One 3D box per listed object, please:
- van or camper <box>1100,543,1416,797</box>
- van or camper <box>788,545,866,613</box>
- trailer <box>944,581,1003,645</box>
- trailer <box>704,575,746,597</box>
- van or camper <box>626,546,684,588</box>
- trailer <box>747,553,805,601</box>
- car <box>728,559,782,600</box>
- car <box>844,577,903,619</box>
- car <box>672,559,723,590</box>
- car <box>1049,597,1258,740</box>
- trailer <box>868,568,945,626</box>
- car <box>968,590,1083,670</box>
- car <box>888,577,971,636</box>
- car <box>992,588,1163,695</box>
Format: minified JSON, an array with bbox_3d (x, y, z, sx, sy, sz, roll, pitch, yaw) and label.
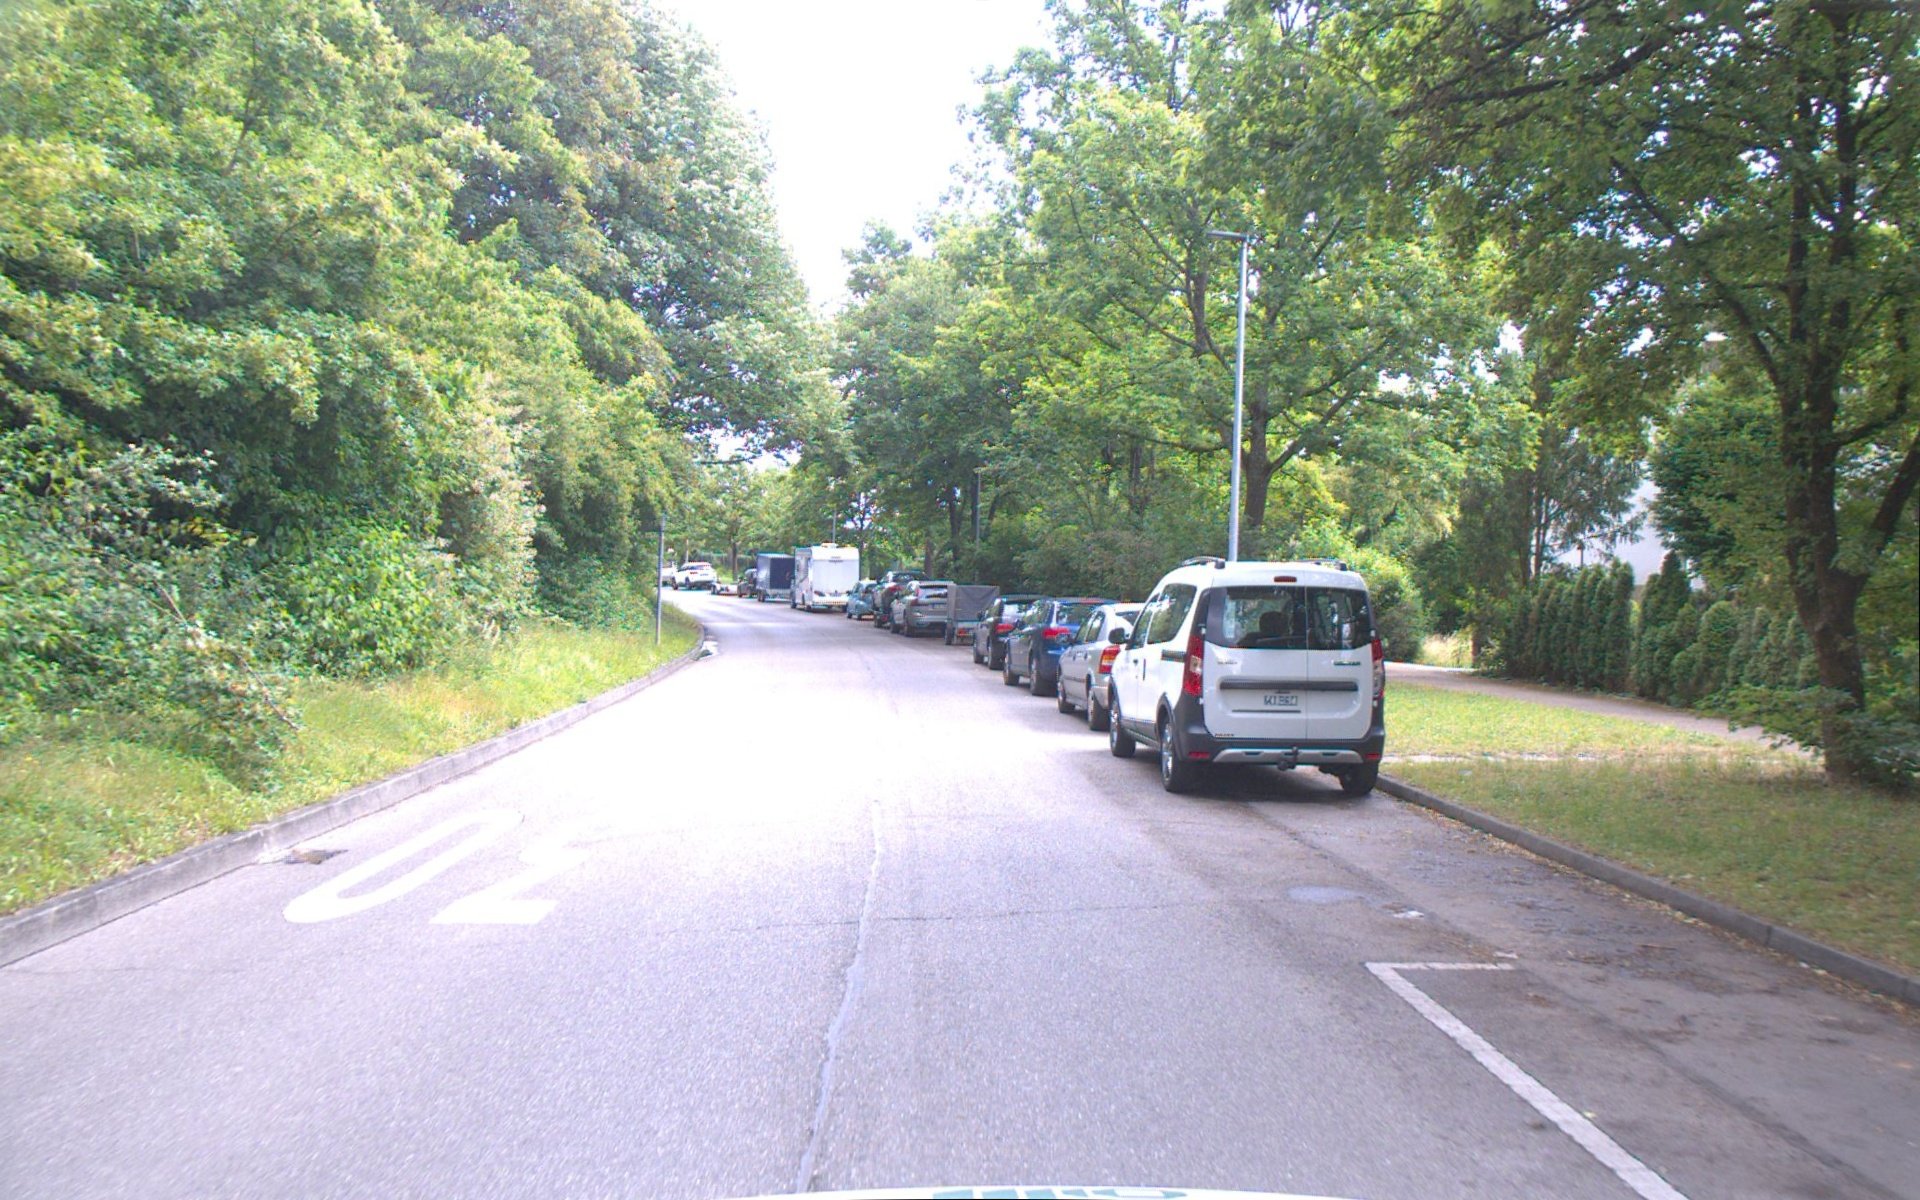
[{"bbox_3d":[2.424,0.562,14.534,1.766,1.870,4.317,1,-1,-3],"label":"van or camper"},{"bbox_3d":[-6.168,-0.969,75.887,2.440,2.926,6.864,1,1,-14],"label":"van or camper"},{"bbox_3d":[0.346,0.327,44.357,1.254,1.612,2.457,1,1,-7],"label":"trailer"},{"bbox_3d":[-13.544,-0.814,95.038,1.627,1.105,3.977,-2,2,-20],"label":"trailer"},{"bbox_3d":[-20.596,-2.262,111.444,2.500,2.744,4.530,-1,2,-30],"label":"van or camper"},{"bbox_3d":[-9.636,-1.197,86.299,1.966,2.440,3.973,1,1,-22],"label":"trailer"},{"bbox_3d":[-11.366,-1.148,91.508,1.967,2.060,3.973,-2,4,-23],"label":"car"},{"bbox_3d":[-3.490,-0.106,65.957,1.768,1.589,3.824,0,1,-12],"label":"car"},{"bbox_3d":[-16.491,-1.612,103.823,2.011,1.835,4.047,0,2,-28],"label":"car"},{"bbox_3d":[2.245,0.753,20.279,1.777,1.462,4.239,2,0,-4],"label":"car"},{"bbox_3d":[-1.901,-0.128,56.734,1.943,1.843,5.137,0,1,-10],"label":"trailer"},{"bbox_3d":[1.265,0.566,33.583,1.688,1.478,3.911,1,0,-7],"label":"car"},{"bbox_3d":[-0.967,0.201,50.457,1.760,1.699,4.489,1,-1,-11],"label":"car"},{"bbox_3d":[1.754,0.592,26.179,1.812,1.500,4.471,1,0,-8],"label":"car"}]
